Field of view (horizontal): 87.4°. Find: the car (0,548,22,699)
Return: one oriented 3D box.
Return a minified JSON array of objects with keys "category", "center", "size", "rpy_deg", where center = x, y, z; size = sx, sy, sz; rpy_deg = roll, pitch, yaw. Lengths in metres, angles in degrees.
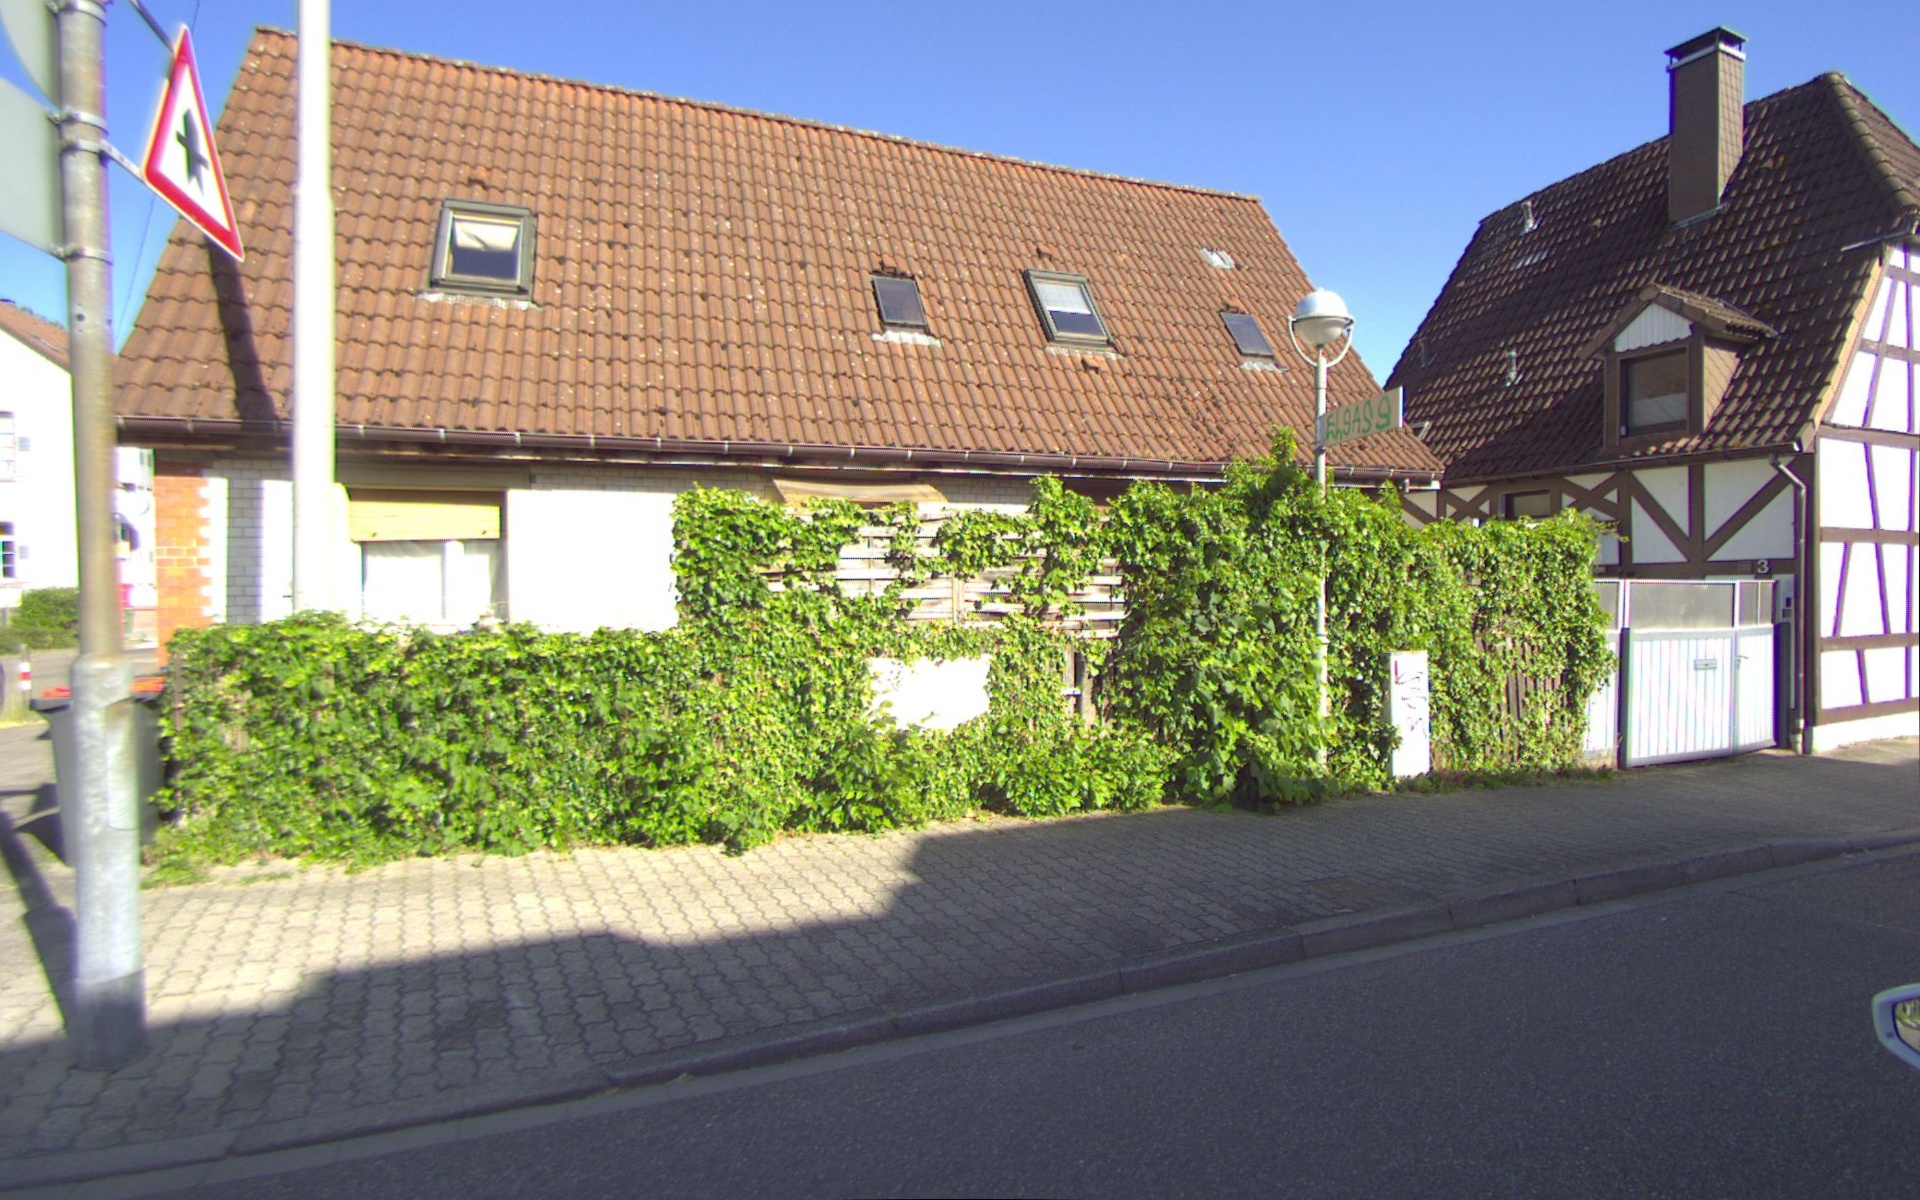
[{"category":"car","center":[-11.428,0.262,9.784],"size":[1.917,1.748,4.212],"rpy_deg":[0,0,-22]}]

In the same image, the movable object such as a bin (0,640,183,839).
[{"category":"movable object such as a bin","center":[-4.556,0.698,5.259],"size":[0.616,0.937,0.555],"rpy_deg":[-1,0,-21]}]
